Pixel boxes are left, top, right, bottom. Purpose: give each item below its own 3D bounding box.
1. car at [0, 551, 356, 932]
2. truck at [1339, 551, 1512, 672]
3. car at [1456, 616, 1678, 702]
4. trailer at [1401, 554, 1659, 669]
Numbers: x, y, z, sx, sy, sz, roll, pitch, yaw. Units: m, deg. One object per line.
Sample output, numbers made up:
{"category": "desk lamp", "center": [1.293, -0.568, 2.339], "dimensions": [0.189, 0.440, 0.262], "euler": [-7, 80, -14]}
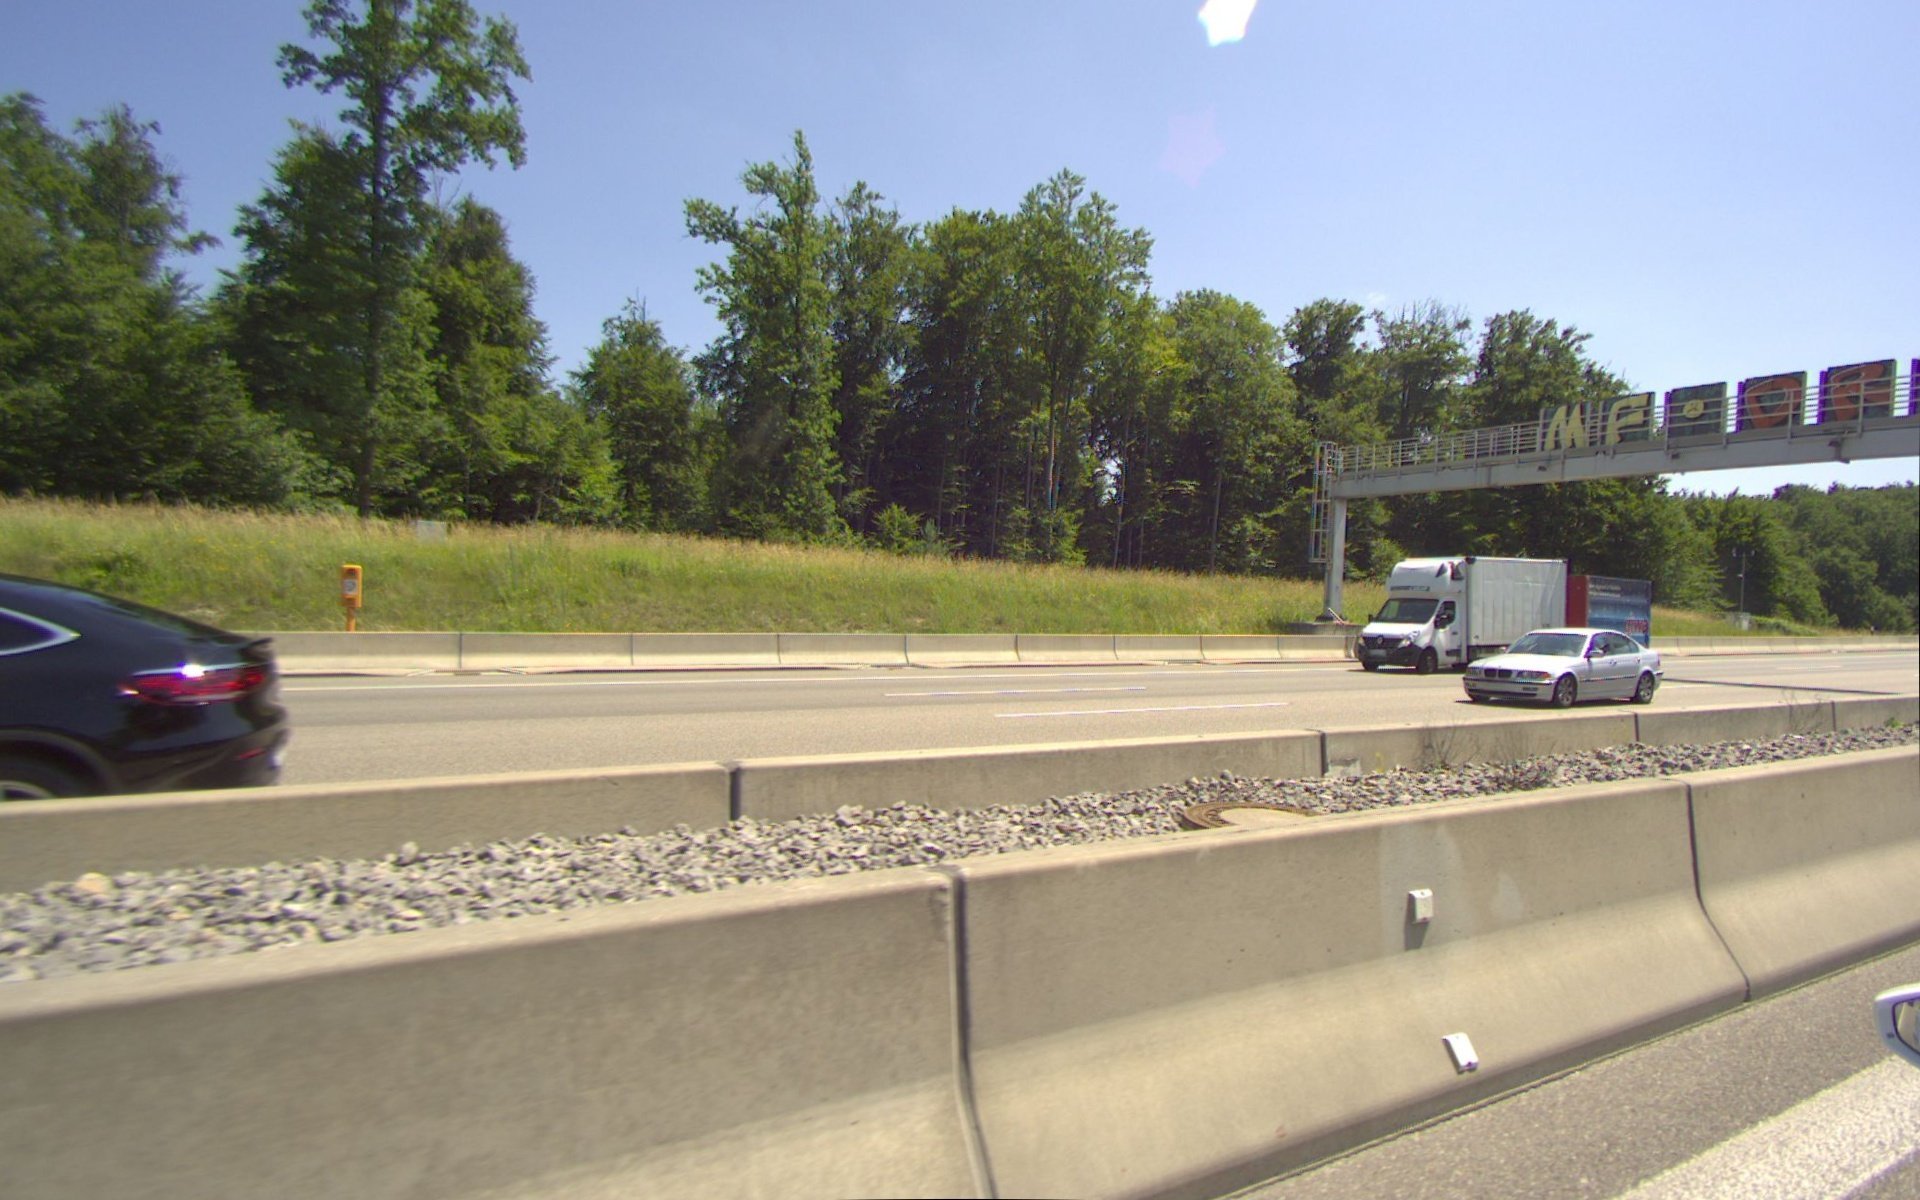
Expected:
{"category": "car", "center": [-5.696, 0.564, 4.639], "dimensions": [4.859, 1.684, 1.818], "euler": [3, 0, -30]}
{"category": "truck", "center": [13.408, 0.353, 28.908], "dimensions": [4.352, 3.209, 2.474], "euler": [2, 0, -32]}
{"category": "car", "center": [11.358, 1.055, 18.738], "dimensions": [4.299, 1.420, 1.692], "euler": [1, -1, -30]}
{"category": "trailer", "center": [18.410, 0.488, 32.040], "dimensions": [10.364, 3.196, 2.461], "euler": [3, 0, -32]}
